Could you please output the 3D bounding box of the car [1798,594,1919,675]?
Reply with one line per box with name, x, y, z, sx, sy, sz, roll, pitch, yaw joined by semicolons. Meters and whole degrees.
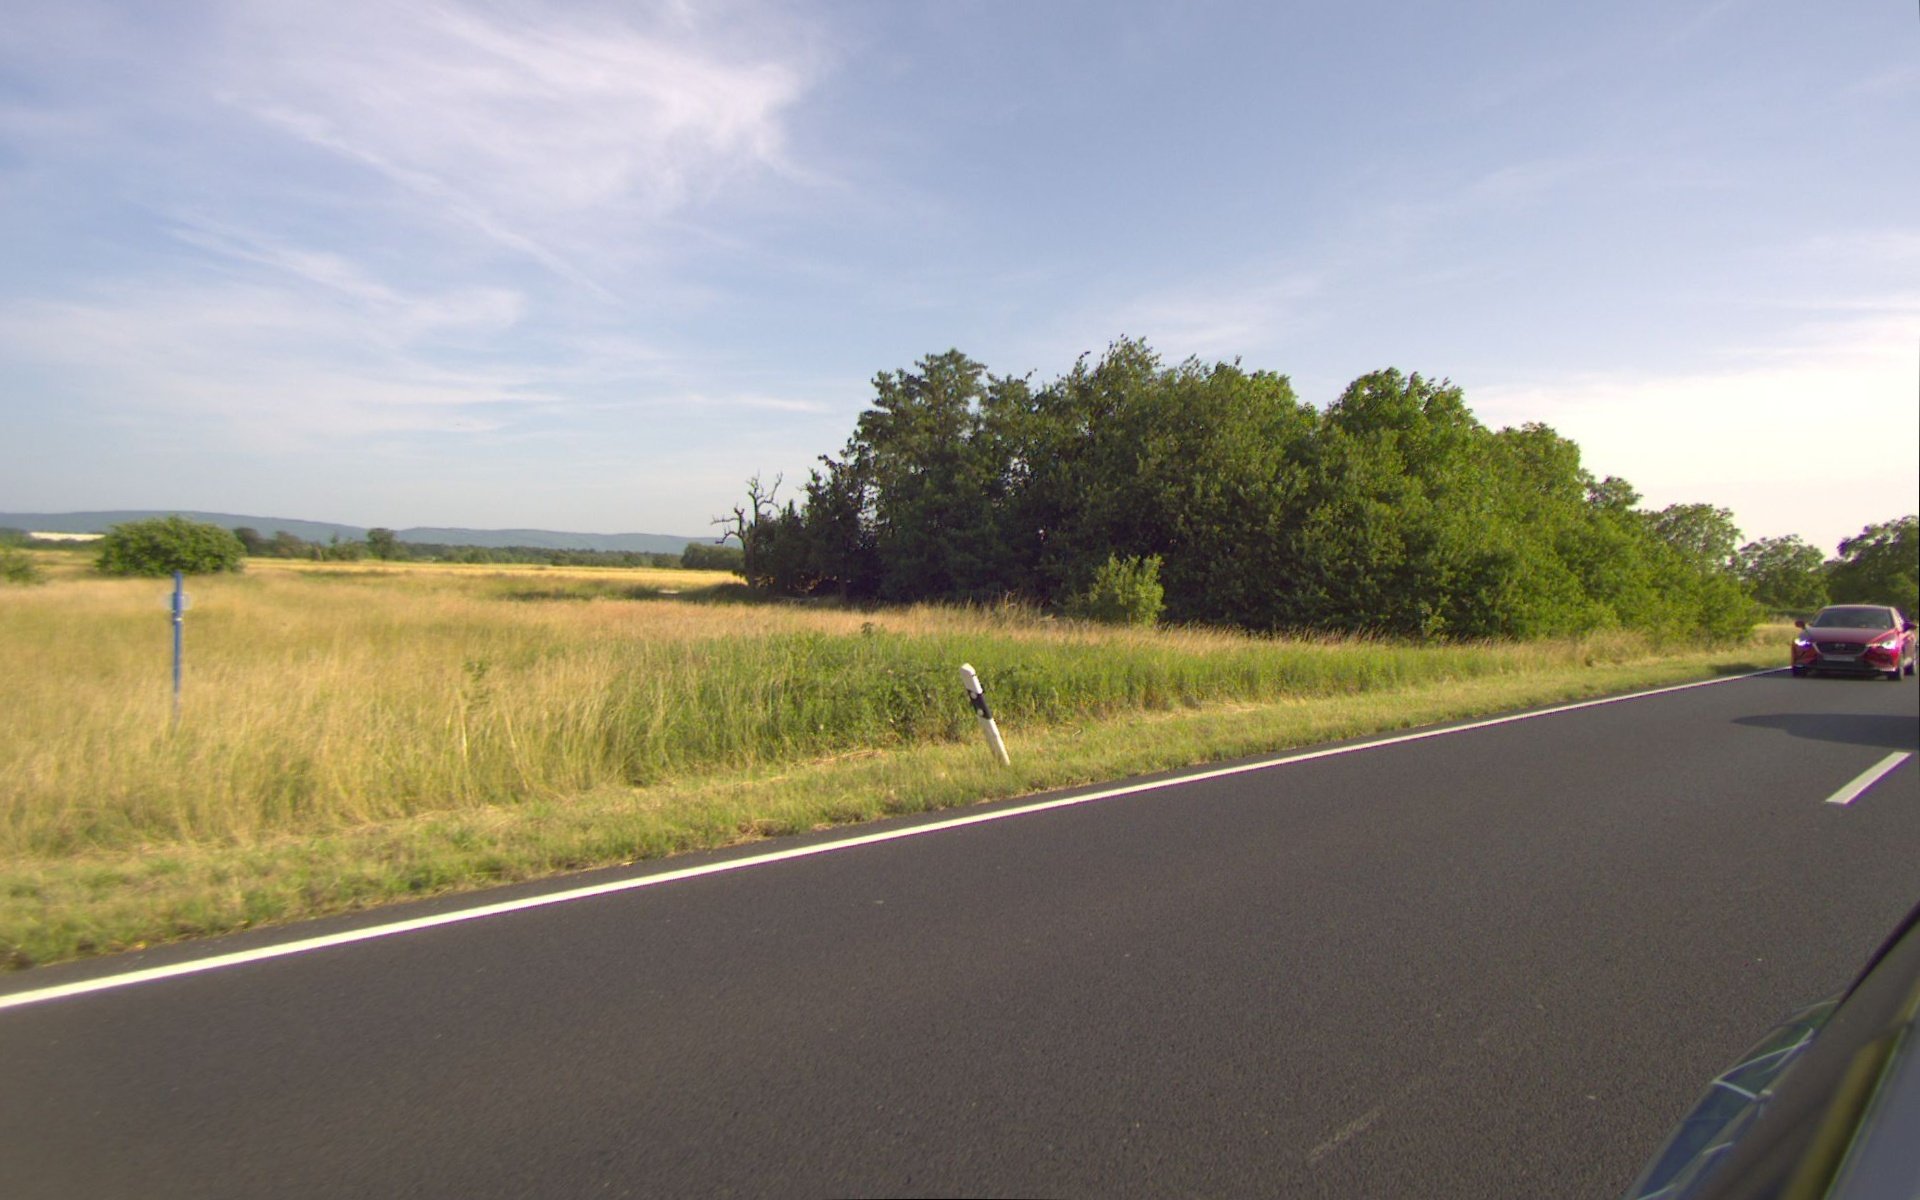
car;19.452;0.654;21.662;4.423;1.525;1.707;-1;1;-42
